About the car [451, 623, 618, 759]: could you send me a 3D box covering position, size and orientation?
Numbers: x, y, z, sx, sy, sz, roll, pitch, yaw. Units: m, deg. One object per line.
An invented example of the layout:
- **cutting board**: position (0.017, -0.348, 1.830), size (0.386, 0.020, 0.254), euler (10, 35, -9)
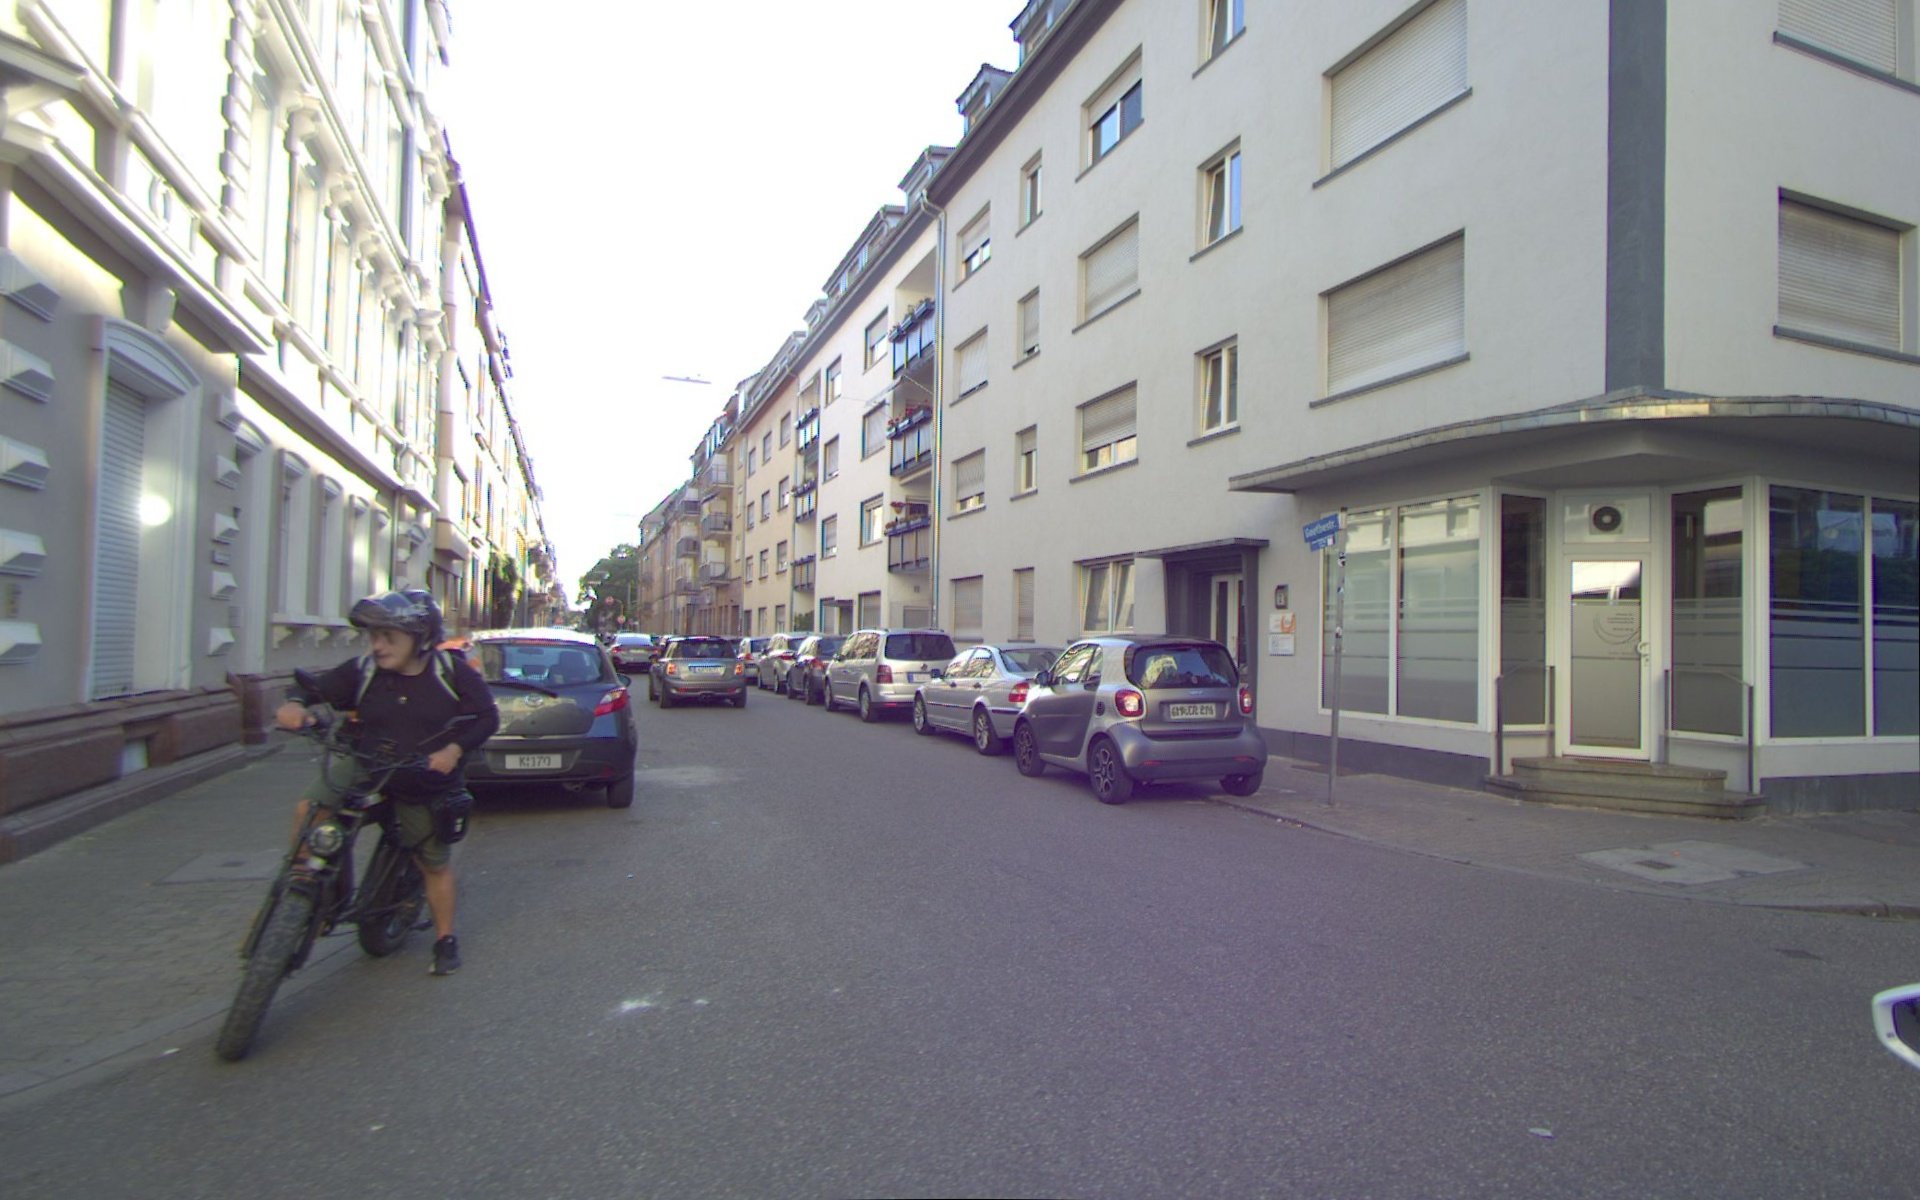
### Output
- **car**: position (-5.859, 1.133, 13.940), size (1.809, 1.580, 4.071), euler (2, -2, -23)

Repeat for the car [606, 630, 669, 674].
- **car**: position (-12.287, 1.932, 38.094), size (1.970, 1.505, 4.641), euler (2, -2, -21)

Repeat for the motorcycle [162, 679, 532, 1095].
- **motorcycle**: position (-2.452, 1.037, 4.293), size (0.792, 1.266, 1.695), euler (0, 0, -11)

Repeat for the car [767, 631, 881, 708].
- **car**: position (-3.239, 1.541, 23.281), size (1.604, 1.580, 4.071), euler (2, -2, -23)

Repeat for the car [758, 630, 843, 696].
- **car**: position (-4.454, 1.695, 27.729), size (1.633, 1.666, 3.590), euler (2, -2, -20)

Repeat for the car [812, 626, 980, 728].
- **car**: position (-1.324, 1.358, 18.820), size (1.971, 1.675, 4.073), euler (2, -2, -21)

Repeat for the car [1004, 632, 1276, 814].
- **car**: position (1.729, 1.148, 10.426), size (1.623, 1.586, 2.752), euler (2, -2, -20)

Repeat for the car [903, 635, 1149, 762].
- **car**: position (0.749, 1.278, 14.354), size (1.938, 1.472, 4.244), euler (2, -2, -20)

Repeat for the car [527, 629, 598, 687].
- **car**: position (-11.980, 1.701, 30.197), size (1.809, 1.580, 4.071), euler (2, -2, -23)

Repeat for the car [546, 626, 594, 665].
- **car**: position (-16.842, 1.916, 43.268), size (1.809, 1.580, 4.071), euler (2, -2, -23)

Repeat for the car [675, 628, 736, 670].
- **car**: position (-10.476, 1.964, 41.111), size (1.809, 1.580, 4.071), euler (2, -2, -23)

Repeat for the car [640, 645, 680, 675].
- **car**: position (-17.677, 3.521, 59.150), size (1.809, 1.580, 4.071), euler (2, -2, -23)

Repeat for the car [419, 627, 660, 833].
- **car**: position (-3.945, 1.021, 9.335), size (1.665, 1.499, 3.567), euler (2, -2, -25)

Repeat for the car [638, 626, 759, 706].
- **car**: position (-5.593, 1.313, 21.124), size (1.971, 1.505, 3.980), euler (2, -2, -22)

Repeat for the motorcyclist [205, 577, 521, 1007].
- **motorcyclist**: position (-2.452, 0.711, 4.278), size (0.859, 1.588, 0.997), euler (0, 0, -11)

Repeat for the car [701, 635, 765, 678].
- **car**: position (-8.404, 2.048, 36.950), size (1.607, 1.425, 3.971), euler (2, -2, -23)

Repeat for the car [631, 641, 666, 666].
- **car**: position (-21.062, 3.582, 67.857), size (1.809, 1.580, 4.071), euler (2, -2, -23)

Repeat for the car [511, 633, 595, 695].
- **car**: position (-10.390, 1.592, 25.641), size (1.809, 1.421, 3.575), euler (2, -2, -23)

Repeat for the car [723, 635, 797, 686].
- **car**: position (-6.568, 1.935, 32.689), size (1.567, 1.507, 3.961), euler (2, -2, -23)

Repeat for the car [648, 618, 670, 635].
- **car**: position (-30.001, 2.664, 100.062), size (1.969, 1.645, 4.567), euler (2, -2, -18)

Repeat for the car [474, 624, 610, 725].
- **car**: position (-7.467, 1.251, 18.064), size (1.980, 1.580, 4.072), euler (2, -2, -22)
